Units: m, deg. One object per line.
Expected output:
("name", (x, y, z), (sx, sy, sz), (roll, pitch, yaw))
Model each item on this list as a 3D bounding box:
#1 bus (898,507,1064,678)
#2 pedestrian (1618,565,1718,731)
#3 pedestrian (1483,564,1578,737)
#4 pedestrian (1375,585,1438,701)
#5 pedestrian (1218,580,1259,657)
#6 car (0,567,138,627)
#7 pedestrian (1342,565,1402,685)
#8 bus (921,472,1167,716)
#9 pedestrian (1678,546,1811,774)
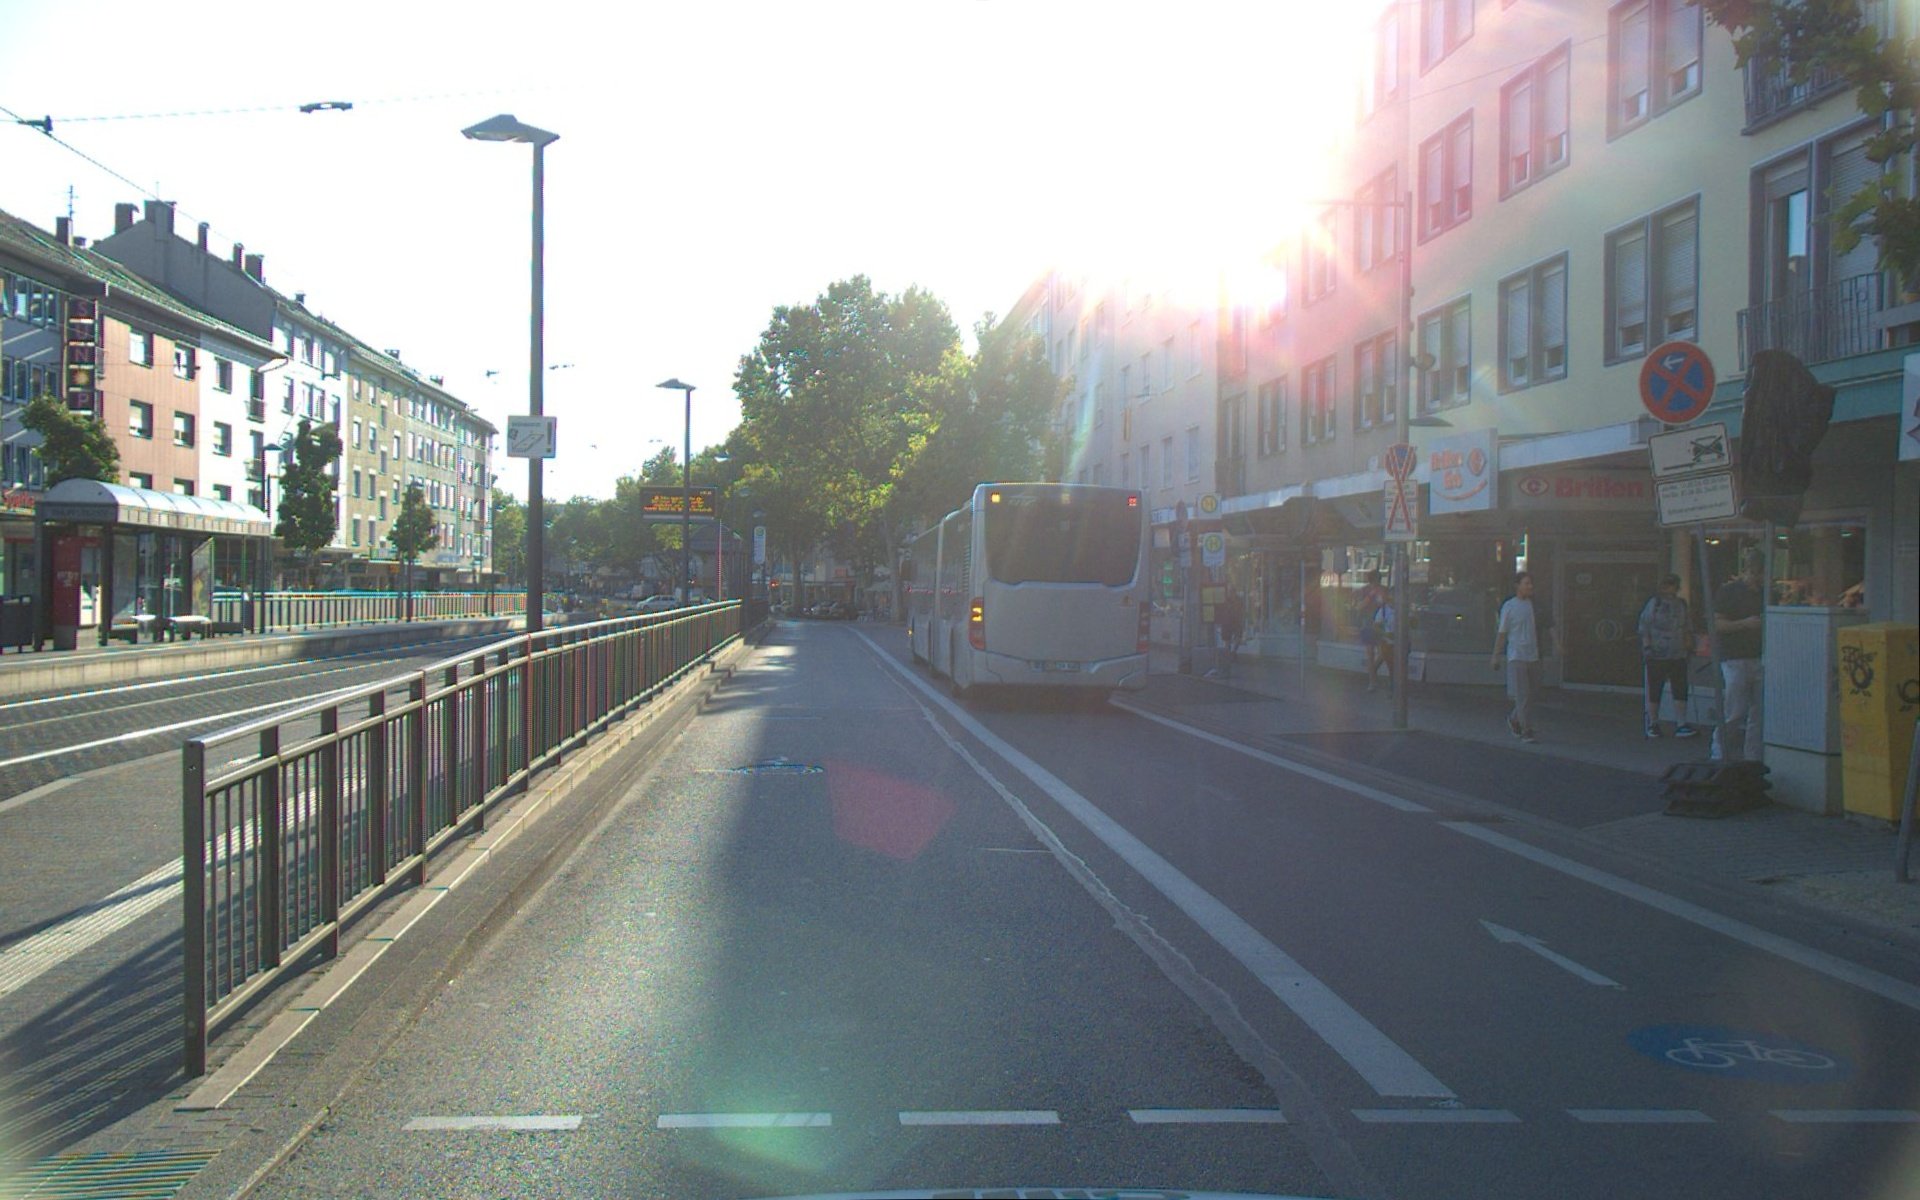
("bus", (0.236, -0.164, 35.701), (2.644, 3.172, 9.061), (1, 0, -5))
("pedestrian", (7.656, 0.512, 17.905), (0.709, 1.753, 0.765), (0, 0, -6))
("pedestrian", (6.119, 0.530, 17.759), (0.709, 1.810, 0.765), (0, 0, -6))
("pedestrian", (6.283, 0.592, 23.301), (0.598, 1.606, 0.850), (0, 0, -5))
("pedestrian", (6.071, 0.403, 36.087), (0.709, 1.661, 0.765), (0, 0, -6))
("car", (-26.510, -0.106, 48.983), (1.734, 1.709, 3.501), (1, 1, 33))
("pedestrian", (6.533, 0.394, 26.243), (0.709, 1.872, 0.765), (0, 0, -6))
("bus", (1.015, -0.102, 26.558), (2.644, 3.172, 9.372), (1, 0, -5))
("pedestrian", (6.509, 0.485, 13.757), (0.709, 1.838, 0.765), (0, 0, -6))
